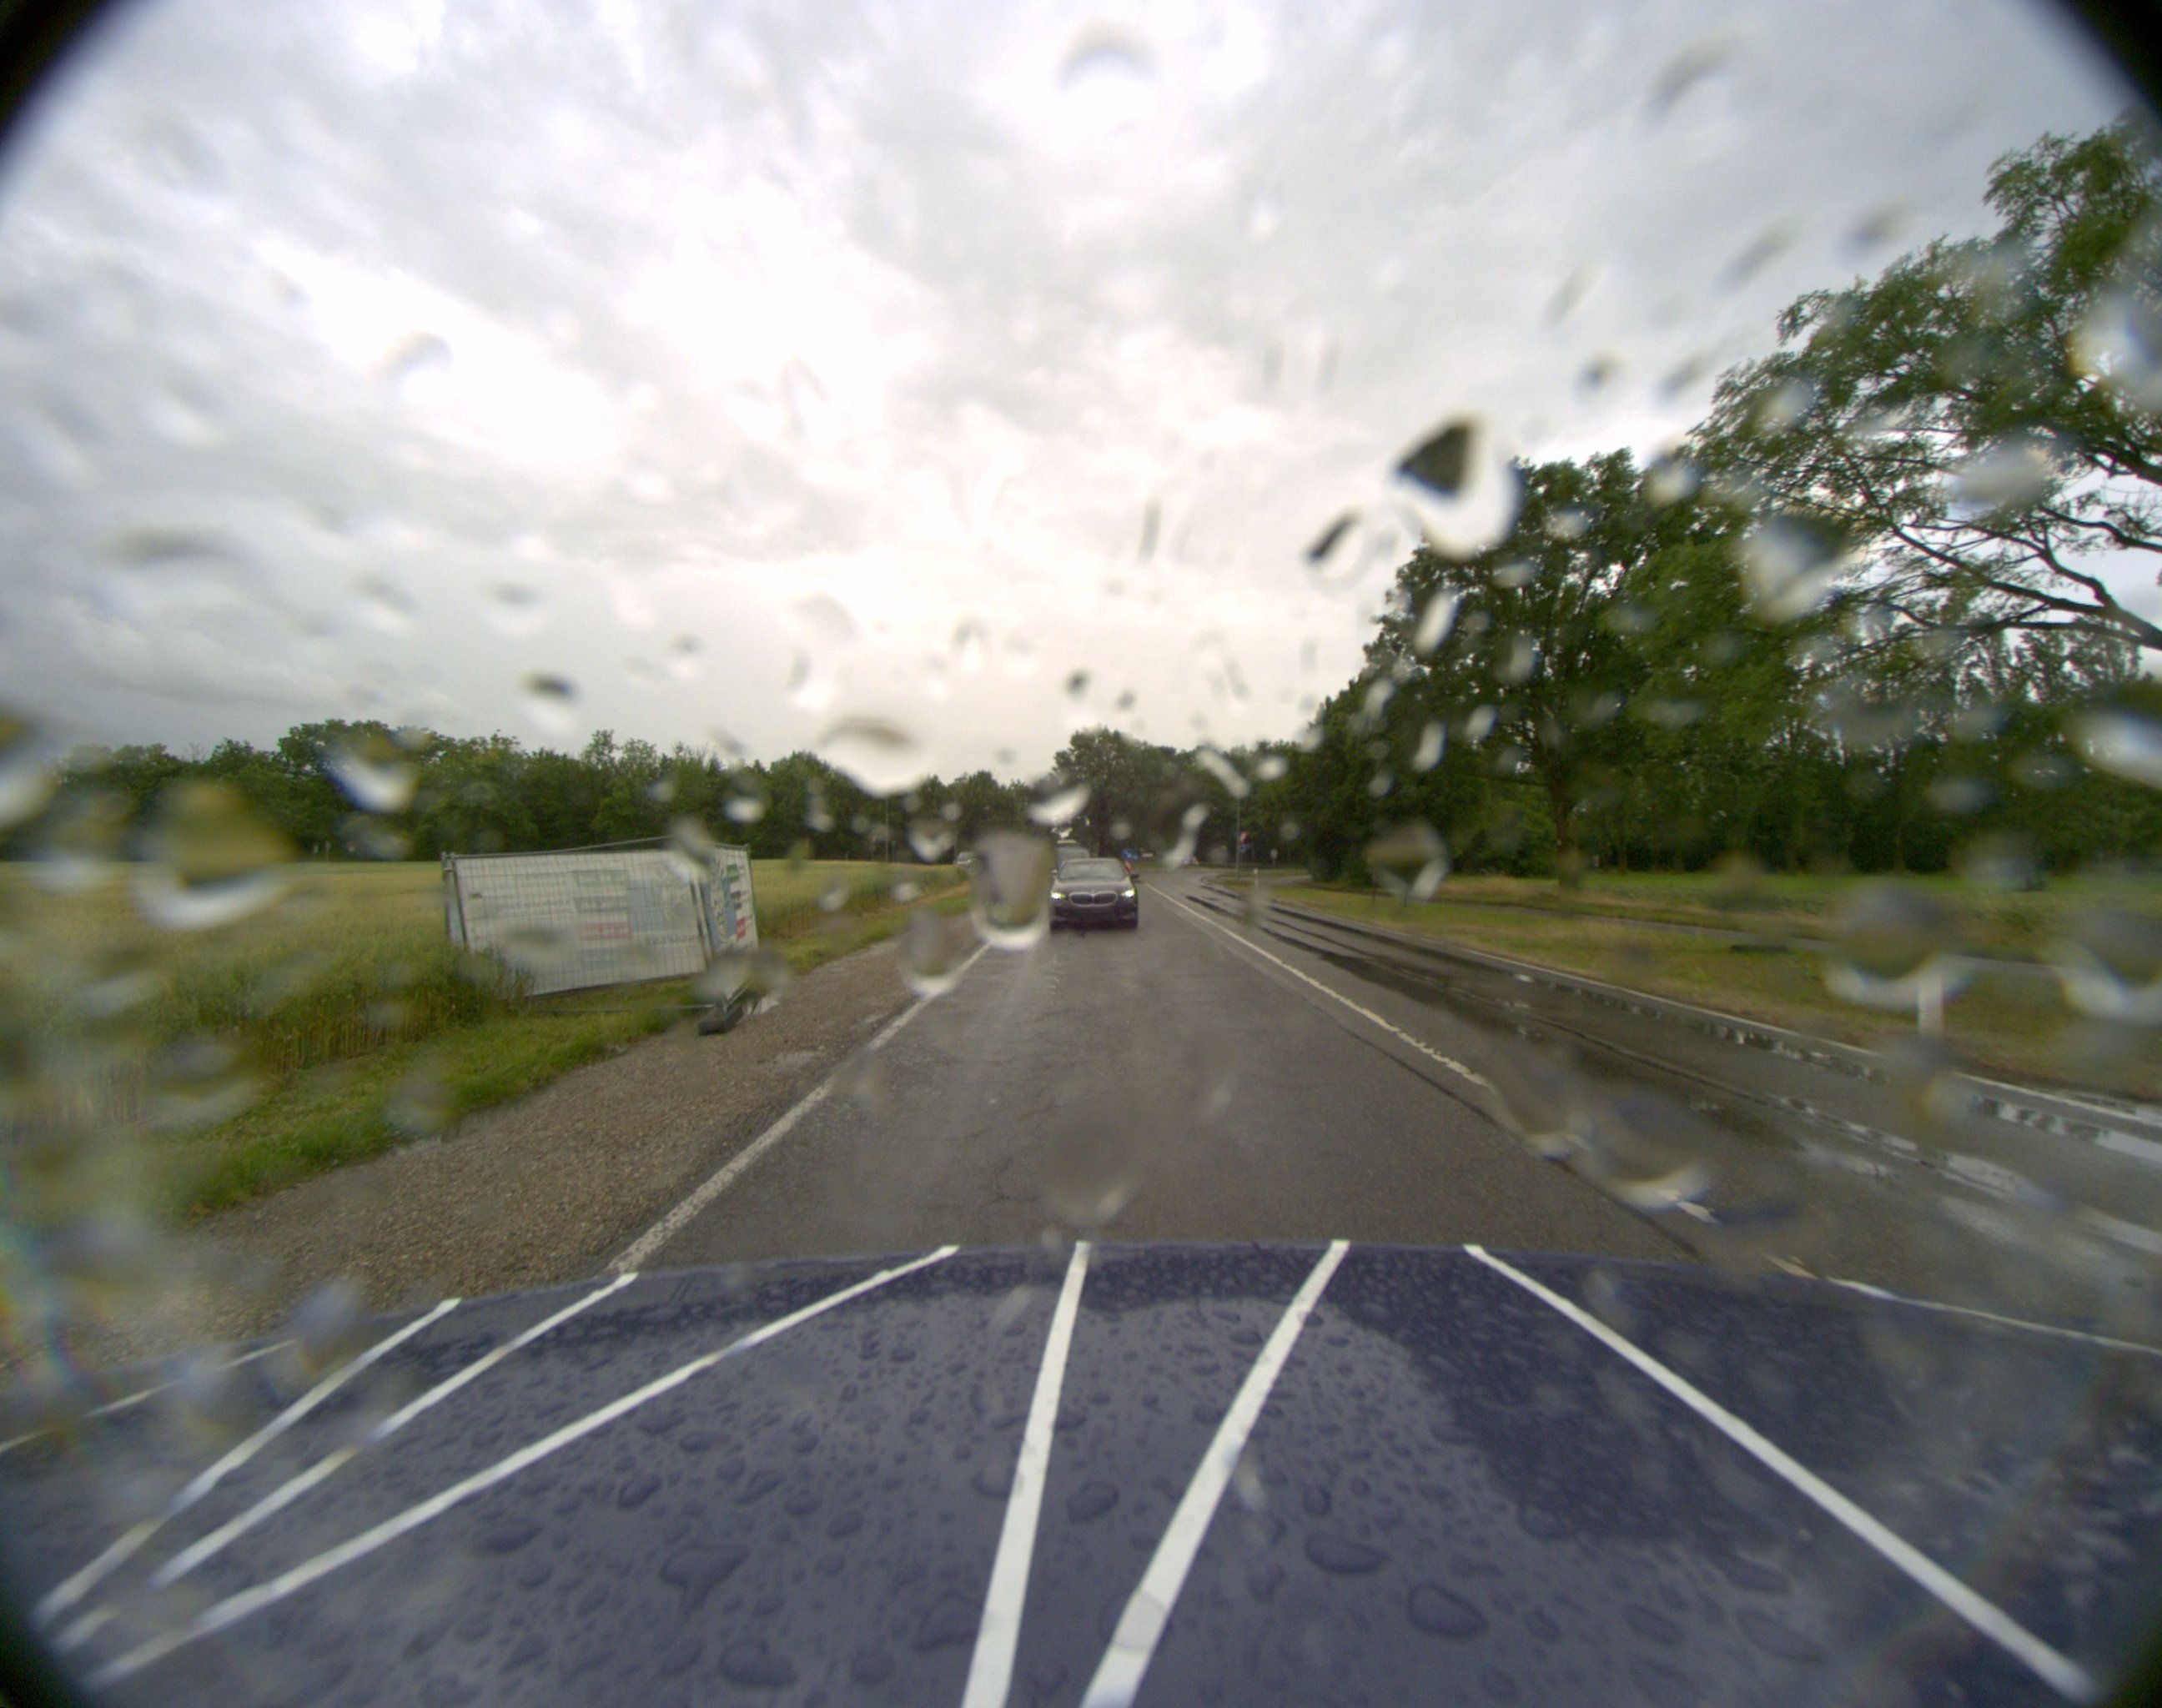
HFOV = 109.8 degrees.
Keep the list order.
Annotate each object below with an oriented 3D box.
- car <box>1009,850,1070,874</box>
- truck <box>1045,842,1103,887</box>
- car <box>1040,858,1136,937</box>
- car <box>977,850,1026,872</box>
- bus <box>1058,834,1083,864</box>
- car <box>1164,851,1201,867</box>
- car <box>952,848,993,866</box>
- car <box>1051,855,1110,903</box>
[{"bbox_3d":[-2.872,0.530,51.193,1.896,1.522,5.243,-2,0,-30],"label":"car"},{"bbox_3d":[-0.488,0.458,39.888,2.077,2.050,5.763,-3,2,-10],"label":"truck"},{"bbox_3d":[0.114,0.878,17.163,1.892,1.484,4.035,-1,0,-1],"label":"car"},{"bbox_3d":[-5.953,0.529,56.558,1.896,1.522,4.491,-2,0,-30],"label":"car"},{"bbox_3d":[-1.241,-0.598,99.969,2.996,3.665,14.293,1,0,0],"label":"bus"},{"bbox_3d":[10.063,0.471,75.559,1.684,1.489,3.725,1,0,-31],"label":"car"},{"bbox_3d":[-9.971,0.284,69.940,1.889,1.522,4.508,-1,0,18],"label":"car"},{"bbox_3d":[-0.099,0.834,27.297,1.892,1.482,4.190,-2,0,-3],"label":"car"}]
